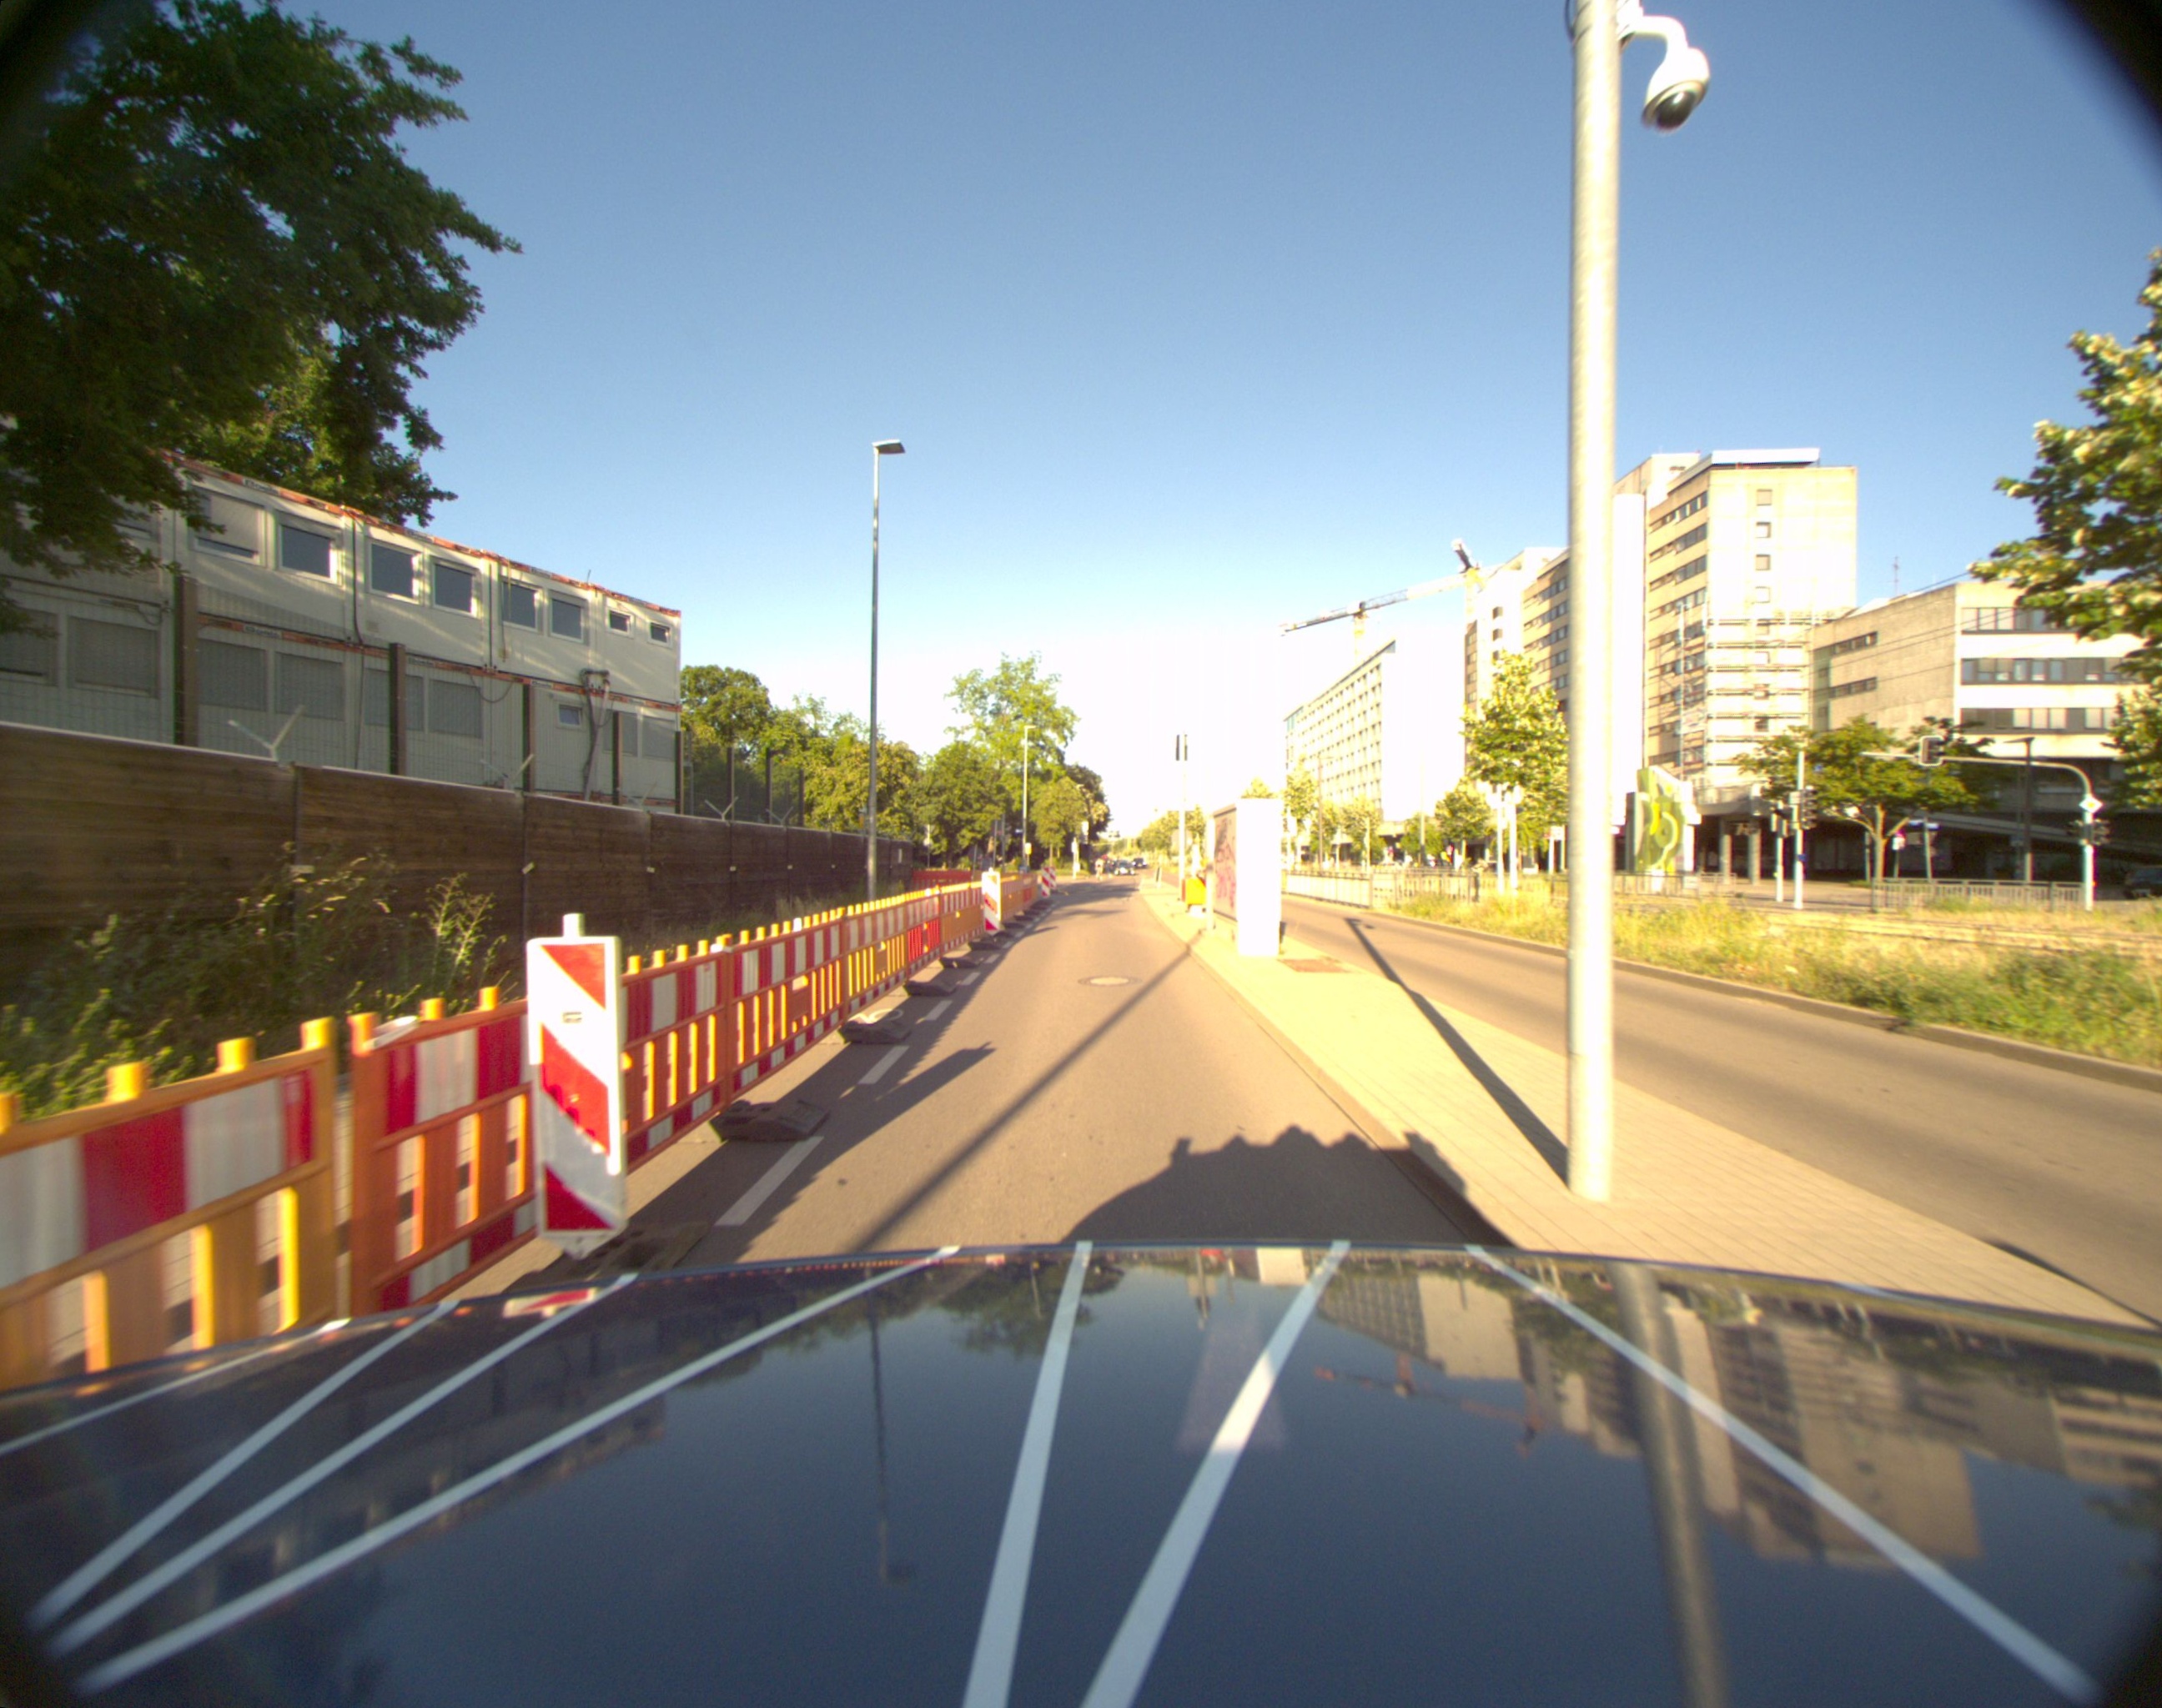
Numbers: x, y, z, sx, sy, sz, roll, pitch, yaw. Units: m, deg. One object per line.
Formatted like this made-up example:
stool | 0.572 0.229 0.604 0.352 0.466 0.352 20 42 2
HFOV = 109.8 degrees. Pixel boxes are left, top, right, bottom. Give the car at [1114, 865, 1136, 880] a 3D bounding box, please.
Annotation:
car | 4.208 1.725 73.267 1.998 1.346 4.000 0 0 2

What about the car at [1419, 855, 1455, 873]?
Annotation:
car | 36.945 0.984 78.801 4.204 1.681 1.617 -2 1 -39

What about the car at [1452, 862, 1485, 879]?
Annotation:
car | 36.873 1.576 72.301 3.473 1.394 1.617 -2 1 -42

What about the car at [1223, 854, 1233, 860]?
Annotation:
car | 39.802 0.770 205.432 1.874 1.579 4.639 -2 1 2

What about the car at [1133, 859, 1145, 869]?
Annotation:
car | 8.424 1.413 110.796 1.591 1.448 4.001 0 0 2

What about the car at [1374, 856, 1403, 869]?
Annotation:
car | 37.126 1.067 91.675 3.809 1.436 1.785 -2 1 -43

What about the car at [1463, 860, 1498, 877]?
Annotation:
car | 35.191 1.273 66.918 3.473 1.266 1.617 -2 1 -42

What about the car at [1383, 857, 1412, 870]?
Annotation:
car | 37.039 1.125 88.815 3.800 1.436 1.617 -2 1 -42

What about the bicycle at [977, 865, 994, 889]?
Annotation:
bicycle | -4.305 1.023 34.390 0.428 1.055 1.911 0 0 2

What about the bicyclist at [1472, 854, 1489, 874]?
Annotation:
bicyclist | 27.747 0.714 52.744 0.737 1.386 0.715 -1 1 -23

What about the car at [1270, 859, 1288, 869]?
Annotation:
car | 31.596 1.573 121.262 1.780 1.455 4.662 0 0 1

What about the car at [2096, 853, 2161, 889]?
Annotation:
car | 46.165 0.717 32.120 3.997 1.487 1.847 0 0 1

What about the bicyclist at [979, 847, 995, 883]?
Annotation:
bicyclist | -4.264 0.491 34.489 0.585 1.605 0.903 0 1 1

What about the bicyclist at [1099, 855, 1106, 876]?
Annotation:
bicyclist | 1.507 0.799 53.068 0.516 1.399 0.805 0 0 1

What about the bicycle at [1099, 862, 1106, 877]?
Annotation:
bicycle | 1.505 1.081 53.102 0.506 1.018 1.505 0 0 2

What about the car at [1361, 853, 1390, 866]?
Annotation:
car | 36.900 0.630 95.194 4.556 1.436 1.617 -2 1 -43

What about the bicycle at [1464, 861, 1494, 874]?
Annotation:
bicycle | 27.780 0.936 53.041 0.507 0.886 2.027 -1 0 -22
